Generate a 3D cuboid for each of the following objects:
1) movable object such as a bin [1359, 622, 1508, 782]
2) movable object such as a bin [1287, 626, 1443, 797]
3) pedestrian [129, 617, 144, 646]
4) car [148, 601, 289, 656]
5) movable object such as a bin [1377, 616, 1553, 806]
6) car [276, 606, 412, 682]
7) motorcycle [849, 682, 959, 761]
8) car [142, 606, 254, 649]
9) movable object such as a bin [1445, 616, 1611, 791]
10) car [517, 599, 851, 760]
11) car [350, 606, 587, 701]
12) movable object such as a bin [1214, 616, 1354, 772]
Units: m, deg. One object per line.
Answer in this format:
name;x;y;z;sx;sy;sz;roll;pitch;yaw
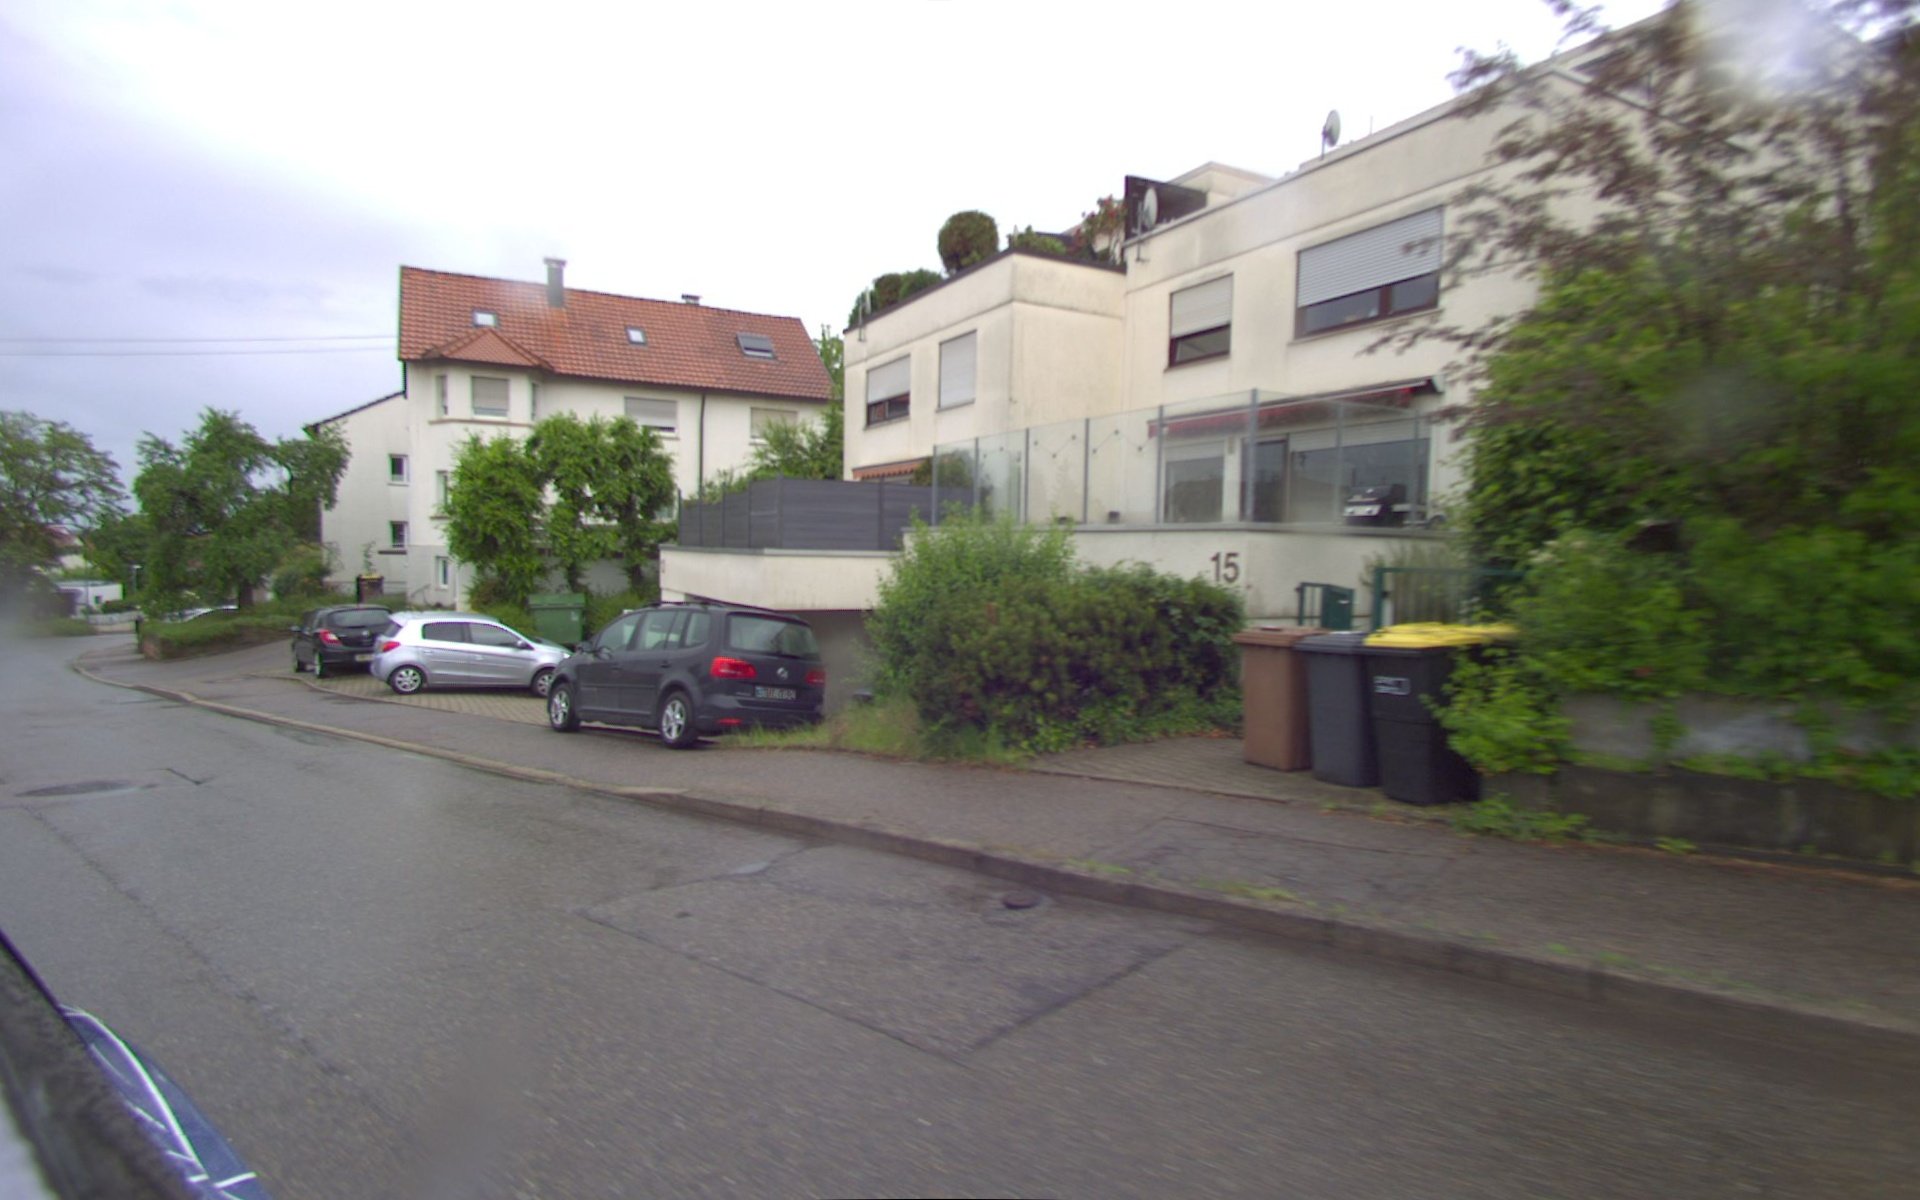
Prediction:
movable object such as a bin;3.478;0.713;7.451;0.688;1.091;0.711;0;-1;-30
movable object such as a bin;2.791;0.731;6.999;0.688;1.091;0.711;0;-1;-30
pedestrian;-47.880;1.830;58.871;0.647;1.661;0.734;-1;-2;-37
car;-29.610;1.109;40.603;4.196;1.441;1.772;-10;5;-28
movable object such as a bin;3.161;0.654;6.360;0.688;1.091;0.711;0;-1;-30
car;-13.613;0.889;22.245;1.745;1.386;4.253;-5;3;-42
motorcycle;-1.005;2.168;18.298;1.861;1.261;0.647;0;-1;-24
car;-39.558;1.406;52.695;4.451;1.625;1.937;-8;4;-34
movable object such as a bin;3.826;0.658;6.839;0.688;1.091;0.711;0;-1;-30
car;-3.471;0.822;12.280;4.415;1.609;1.784;-1;-1;41
car;-9.424;1.052;19.481;3.775;1.489;1.808;7;-5;-34
movable object such as a bin;2.431;0.671;7.627;0.688;1.091;0.711;0;-1;-30
